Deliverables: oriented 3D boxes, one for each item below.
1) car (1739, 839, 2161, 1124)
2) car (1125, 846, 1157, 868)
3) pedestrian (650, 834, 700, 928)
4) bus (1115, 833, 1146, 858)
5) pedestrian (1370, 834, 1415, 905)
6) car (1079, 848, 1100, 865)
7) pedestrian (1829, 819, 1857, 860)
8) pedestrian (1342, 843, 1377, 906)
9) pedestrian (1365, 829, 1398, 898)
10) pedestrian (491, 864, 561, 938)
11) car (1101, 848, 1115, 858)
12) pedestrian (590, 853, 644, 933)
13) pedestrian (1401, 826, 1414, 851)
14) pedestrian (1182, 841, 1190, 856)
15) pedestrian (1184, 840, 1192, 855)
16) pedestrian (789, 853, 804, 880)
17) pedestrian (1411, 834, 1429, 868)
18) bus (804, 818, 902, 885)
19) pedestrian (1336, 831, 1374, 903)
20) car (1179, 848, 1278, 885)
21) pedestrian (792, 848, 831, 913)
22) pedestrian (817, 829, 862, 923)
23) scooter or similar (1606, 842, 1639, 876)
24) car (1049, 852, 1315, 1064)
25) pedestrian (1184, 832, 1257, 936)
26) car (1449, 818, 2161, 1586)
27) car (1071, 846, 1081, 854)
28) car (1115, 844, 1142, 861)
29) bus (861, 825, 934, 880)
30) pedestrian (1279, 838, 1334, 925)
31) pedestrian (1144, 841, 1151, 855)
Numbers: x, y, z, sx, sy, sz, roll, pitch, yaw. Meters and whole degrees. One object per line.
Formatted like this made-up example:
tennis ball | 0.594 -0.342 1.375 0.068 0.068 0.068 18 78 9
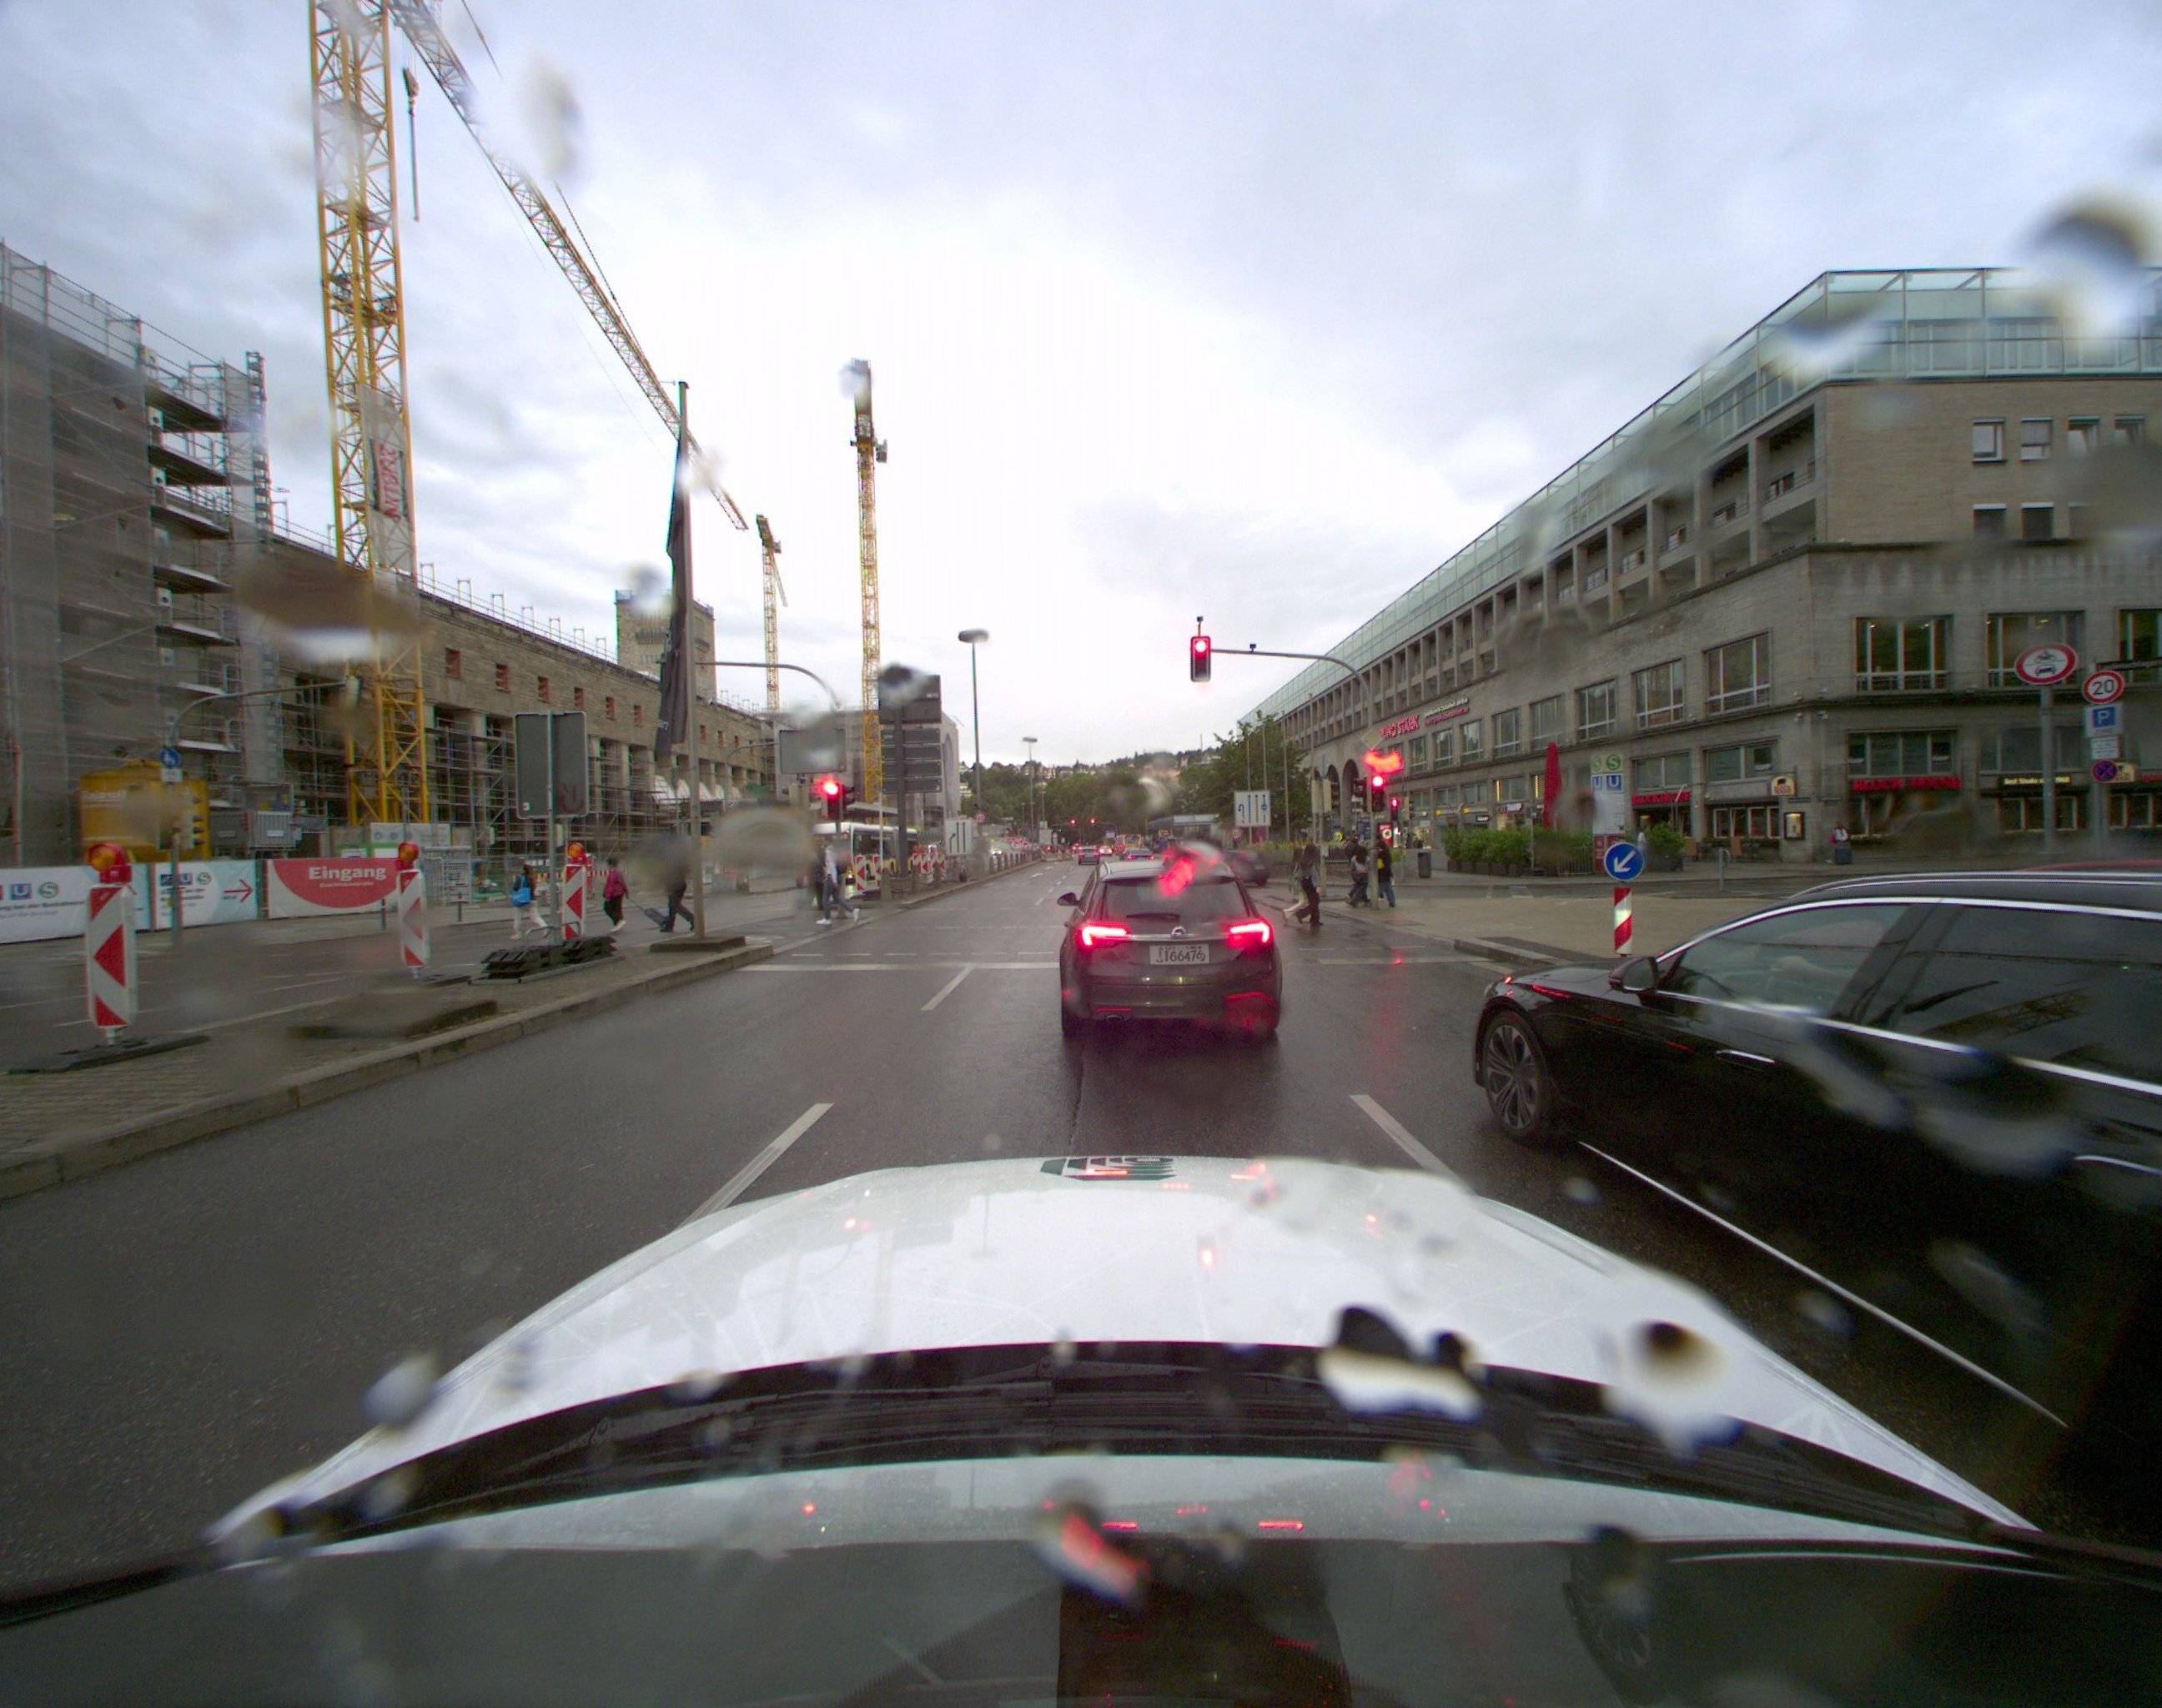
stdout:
car | 6.578 0.661 4.768 1.868 1.486 4.527 0 0 1
car | 3.919 0.183 53.787 1.748 1.398 4.647 0 0 -1
pedestrian | -8.170 0.529 16.402 0.576 1.836 0.820 0 -1 2
bus | 7.210 -1.204 120.948 4.158 3.469 14.660 0 0 2
pedestrian | 7.175 0.346 18.770 0.797 1.608 0.619 0 -1 -2
car | 0.707 0.215 69.927 1.747 1.398 4.538 0 0 0
pedestrian | 28.948 -0.538 30.937 0.750 1.512 0.721 -1 -1 43
pedestrian | 6.594 0.490 19.288 0.677 1.474 0.366 0 -1 -3
pedestrian | 7.823 0.244 21.179 0.563 1.752 0.684 -1 -1 44
pedestrian | -12.083 1.002 17.763 0.912 1.563 0.899 0 -1 -2
car | 3.834 -0.076 115.421 1.839 1.398 3.565 0 0 2
pedestrian | -10.413 0.868 18.292 0.797 1.717 0.619 -3 0 -2
pedestrian | 26.816 -1.247 66.821 0.760 2.014 0.825 0 -1 1
pedestrian | 12.236 -0.607 95.212 0.761 1.690 0.824 0 -1 -3
pedestrian | 12.382 -0.753 94.046 0.761 1.690 0.824 0 -1 -3
pedestrian | -19.695 0.883 56.397 0.659 1.855 0.799 -2 0 1
pedestrian | 20.203 -0.175 48.529 0.756 2.014 0.830 -1 -1 43
bus | -13.387 -0.119 48.844 2.658 3.602 10.243 0 0 2
pedestrian | 6.675 0.315 19.857 0.753 1.717 0.466 0 -1 -2
car | 5.857 0.470 32.603 1.860 1.398 3.625 0 0 -37
pedestrian | -6.659 0.632 20.156 0.874 1.561 0.782 0 -1 -17
pedestrian | -5.000 0.445 16.902 0.798 1.890 0.618 0 -1 -7
scooter or similar | 19.370 0.171 29.132 0.290 1.189 1.014 0 0 -17
car | 0.759 0.740 7.748 1.868 1.486 4.001 0 0 1
pedestrian | 2.469 0.519 14.501 1.093 1.751 0.653 -3 0 -1
car | 3.024 0.678 2.509 1.787 1.501 4.630 0 0 1
car | -0.905 -0.802 150.153 1.752 1.398 3.565 0 0 2
car | 4.110 -0.116 70.925 1.750 1.398 4.393 0 0 -5
bus | -13.066 -0.078 59.029 2.658 3.602 10.215 0 0 2
pedestrian | 4.366 0.523 15.818 0.791 1.626 0.899 0 -1 -2
pedestrian | 11.530 -1.078 140.782 1.194 2.435 1.229 0 -1 3
